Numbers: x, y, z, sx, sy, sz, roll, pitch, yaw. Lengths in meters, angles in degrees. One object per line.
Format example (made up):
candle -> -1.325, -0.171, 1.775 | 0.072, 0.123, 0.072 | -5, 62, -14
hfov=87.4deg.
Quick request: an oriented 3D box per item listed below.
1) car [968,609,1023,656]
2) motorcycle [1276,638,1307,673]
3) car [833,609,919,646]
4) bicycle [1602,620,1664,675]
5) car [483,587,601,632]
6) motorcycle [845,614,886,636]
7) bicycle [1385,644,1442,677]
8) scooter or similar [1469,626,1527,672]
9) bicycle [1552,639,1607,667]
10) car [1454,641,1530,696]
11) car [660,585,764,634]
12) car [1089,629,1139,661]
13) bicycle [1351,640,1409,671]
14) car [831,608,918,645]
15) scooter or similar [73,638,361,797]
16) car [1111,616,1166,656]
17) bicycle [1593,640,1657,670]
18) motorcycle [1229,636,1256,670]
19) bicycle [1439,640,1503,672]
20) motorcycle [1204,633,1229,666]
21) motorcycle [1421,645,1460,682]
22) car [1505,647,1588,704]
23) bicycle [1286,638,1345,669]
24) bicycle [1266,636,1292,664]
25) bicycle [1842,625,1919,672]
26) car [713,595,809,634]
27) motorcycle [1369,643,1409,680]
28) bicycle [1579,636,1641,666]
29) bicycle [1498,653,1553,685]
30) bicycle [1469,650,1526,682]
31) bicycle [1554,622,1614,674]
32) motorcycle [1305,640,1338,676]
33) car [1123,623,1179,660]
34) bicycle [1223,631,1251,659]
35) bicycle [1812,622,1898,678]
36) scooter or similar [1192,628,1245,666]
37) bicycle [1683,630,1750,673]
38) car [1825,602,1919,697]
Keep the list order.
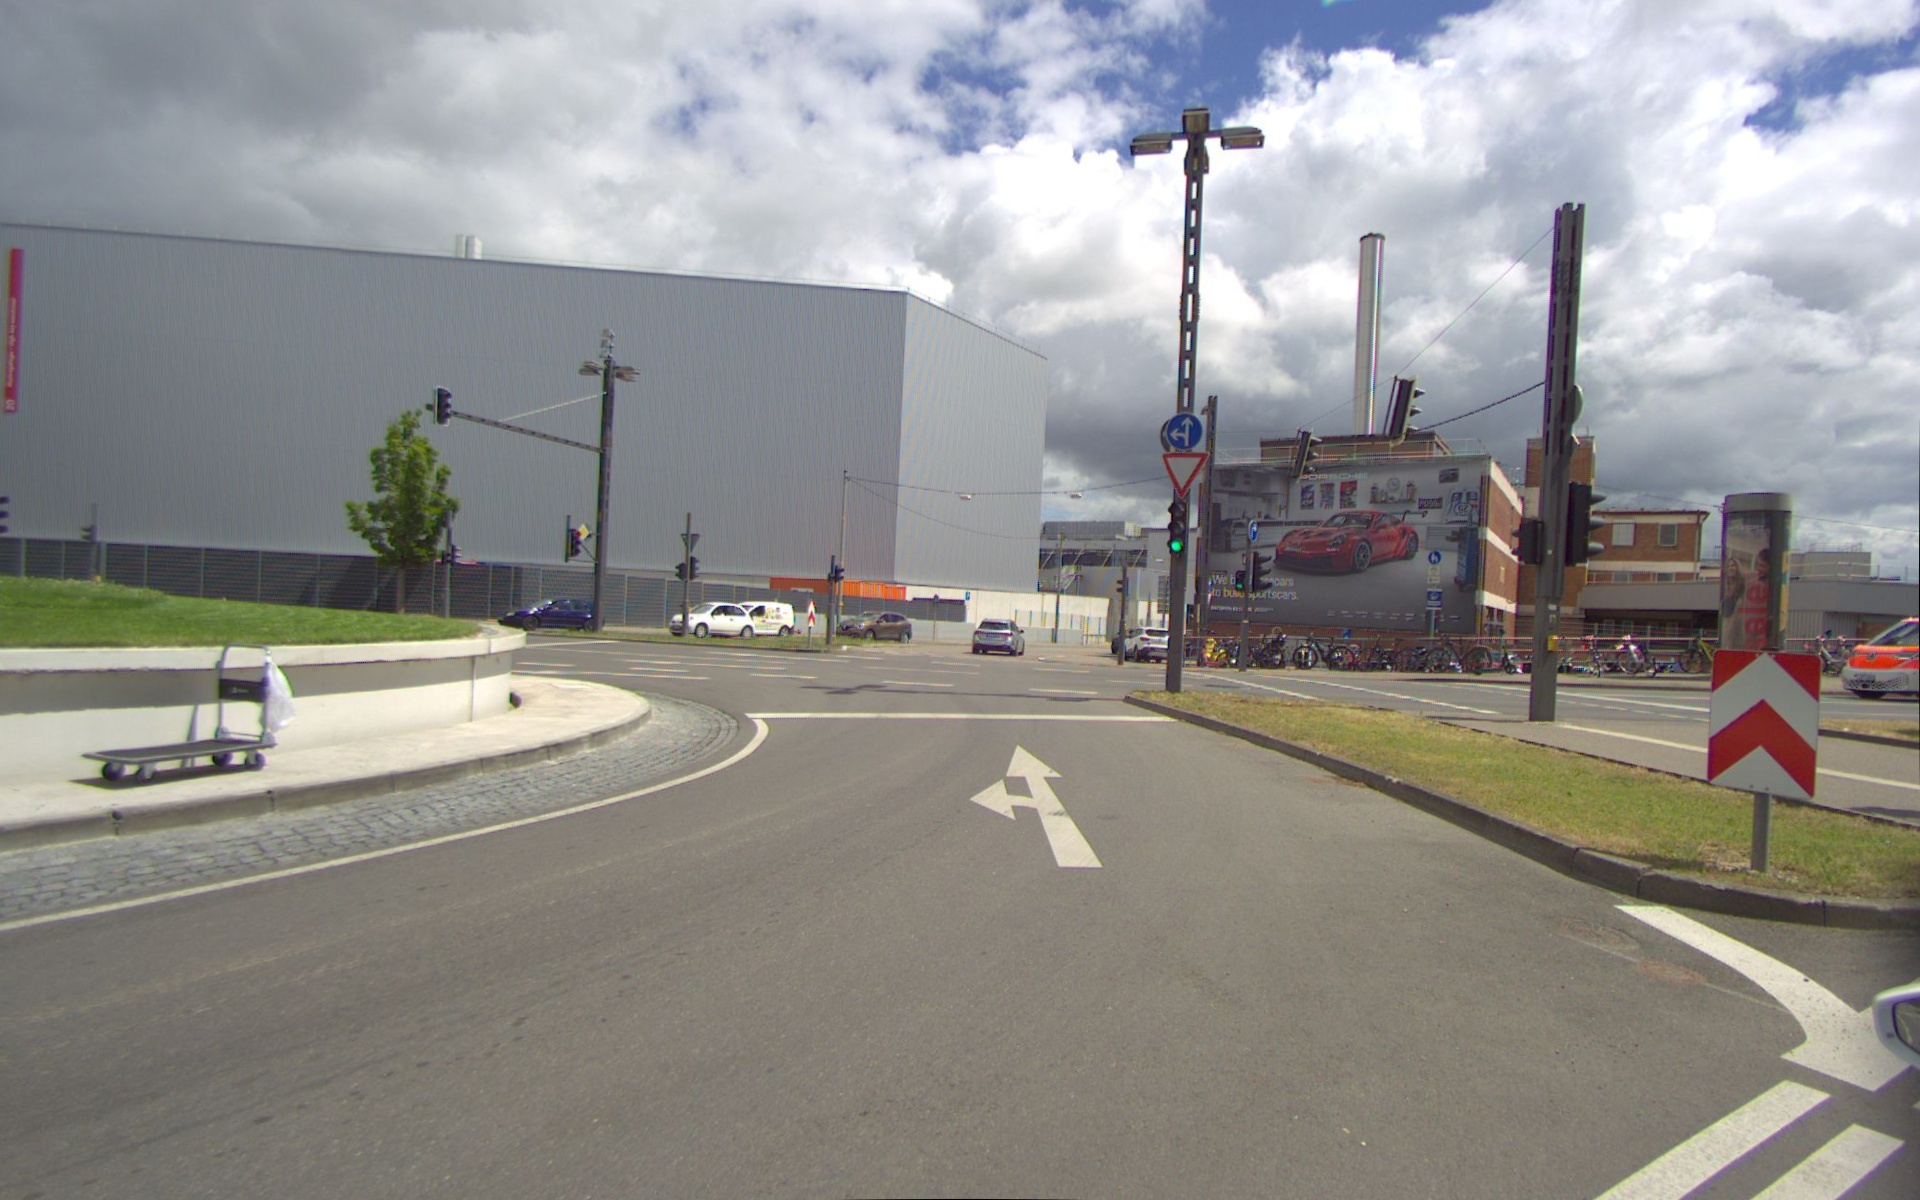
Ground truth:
car -> 1.492, 1.295, 41.250 | 1.960, 1.598, 4.001 | 4, 1, 5
motorcycle -> 13.797, 2.291, 41.852 | 0.902, 1.211, 2.914 | 4, 1, 13
car -> -4.058, 1.360, 49.088 | 1.796, 1.577, 4.208 | 5, 1, 37
bicycle -> 18.998, 1.323, 28.393 | 0.483, 1.401, 1.609 | 4, 1, -5
car -> -16.728, 0.387, 40.315 | 3.933, 1.577, 1.779 | 3, 2, -45
motorcycle -> -6.008, 1.611, 63.876 | 0.938, 1.245, 2.743 | 5, 1, 36
bicycle -> 14.675, 1.947, 32.517 | 1.582, 0.878, 0.492 | 5, 2, 31
scooter or similar -> 15.047, 1.367, 28.078 | 1.364, 1.248, 0.494 | 0, 2, -6
bicycle -> 20.223, 1.718, 32.792 | 1.581, 0.878, 0.492 | 1, 0, -6
car -> 21.075, 2.678, 39.930 | 1.597, 1.809, 3.485 | 4, 1, 11
car -> -10.304, 0.406, 41.891 | 1.883, 1.820, 3.759 | 5, 1, 40
car -> 9.469, 2.747, 61.628 | 1.962, 1.658, 3.997 | 5, 1, 24
bicycle -> 12.342, 1.624, 29.537 | 1.580, 0.878, 0.492 | 0, -1, 23
car -> -4.136, 1.298, 49.119 | 1.784, 1.565, 4.221 | 5, 1, 37
scooter or similar -> -4.888, 0.721, 6.678 | 0.892, 0.859, 1.260 | 2, 0, 27
car -> 9.941, 1.950, 55.598 | 2.166, 1.882, 4.517 | 4, 1, 20
bicycle -> 20.604, 1.699, 31.135 | 1.578, 0.878, 0.493 | 0, -1, 8
motorcycle -> 11.936, 2.208, 42.531 | 0.902, 1.211, 2.914 | 4, 1, 13
bicycle -> 14.739, 1.604, 28.987 | 1.578, 0.878, 0.493 | 1, -1, 6
motorcycle -> 11.021, 2.120, 43.275 | 0.902, 1.211, 2.914 | 4, 1, 13
motorcycle -> 18.934, 2.496, 39.624 | 0.902, 1.211, 2.913 | 4, 1, 17
car -> 23.236, 2.944, 39.933 | 1.670, 1.828, 3.485 | 4, 1, 11
bicycle -> 10.748, 1.609, 30.411 | 1.585, 0.878, 0.491 | 1, 0, 36
bicycle -> 10.794, 1.680, 33.944 | 0.484, 0.878, 1.608 | 5, 1, 29
bicycle -> 26.448, 1.375, 28.777 | 0.657, 1.198, 1.741 | 2, 1, -6
car -> -9.572, 0.727, 48.583 | 1.969, 1.645, 4.274 | 5, 1, 38
motorcycle -> 17.197, 2.447, 40.332 | 0.902, 1.211, 2.914 | 4, 1, 13
bicycle -> 20.638, 1.621, 31.913 | 1.578, 0.878, 0.493 | 2, 0, 6
bicycle -> 17.901, 2.193, 31.803 | 1.584, 0.878, 0.491 | 4, 1, -14
bicycle -> 17.476, 2.146, 32.671 | 1.580, 0.878, 0.492 | 4, 1, -3
bicycle -> 17.604, 1.344, 28.383 | 0.483, 1.334, 1.609 | 4, 1, -5
motorcycle -> 14.914, 2.375, 41.533 | 0.902, 1.211, 2.914 | 4, 1, 13
car -> 8.536, 1.840, 45.125 | 1.750, 1.368, 3.354 | 4, 1, -1
bicycle -> 9.565, 1.538, 34.667 | 0.484, 0.878, 1.608 | 5, 1, 29
bicycle -> 24.907, 1.374, 27.995 | 0.657, 1.399, 1.741 | 4, 1, -5
scooter or similar -> 8.324, 1.513, 32.383 | 1.608, 1.197, 0.500 | -2, -3, 41
bicycle -> 21.435, 1.435, 28.491 | 0.483, 1.070, 1.609 | 4, 1, -5
car -> 22.393, 1.133, 22.211 | 4.740, 2.009, 2.000 | 2, -1, 1
